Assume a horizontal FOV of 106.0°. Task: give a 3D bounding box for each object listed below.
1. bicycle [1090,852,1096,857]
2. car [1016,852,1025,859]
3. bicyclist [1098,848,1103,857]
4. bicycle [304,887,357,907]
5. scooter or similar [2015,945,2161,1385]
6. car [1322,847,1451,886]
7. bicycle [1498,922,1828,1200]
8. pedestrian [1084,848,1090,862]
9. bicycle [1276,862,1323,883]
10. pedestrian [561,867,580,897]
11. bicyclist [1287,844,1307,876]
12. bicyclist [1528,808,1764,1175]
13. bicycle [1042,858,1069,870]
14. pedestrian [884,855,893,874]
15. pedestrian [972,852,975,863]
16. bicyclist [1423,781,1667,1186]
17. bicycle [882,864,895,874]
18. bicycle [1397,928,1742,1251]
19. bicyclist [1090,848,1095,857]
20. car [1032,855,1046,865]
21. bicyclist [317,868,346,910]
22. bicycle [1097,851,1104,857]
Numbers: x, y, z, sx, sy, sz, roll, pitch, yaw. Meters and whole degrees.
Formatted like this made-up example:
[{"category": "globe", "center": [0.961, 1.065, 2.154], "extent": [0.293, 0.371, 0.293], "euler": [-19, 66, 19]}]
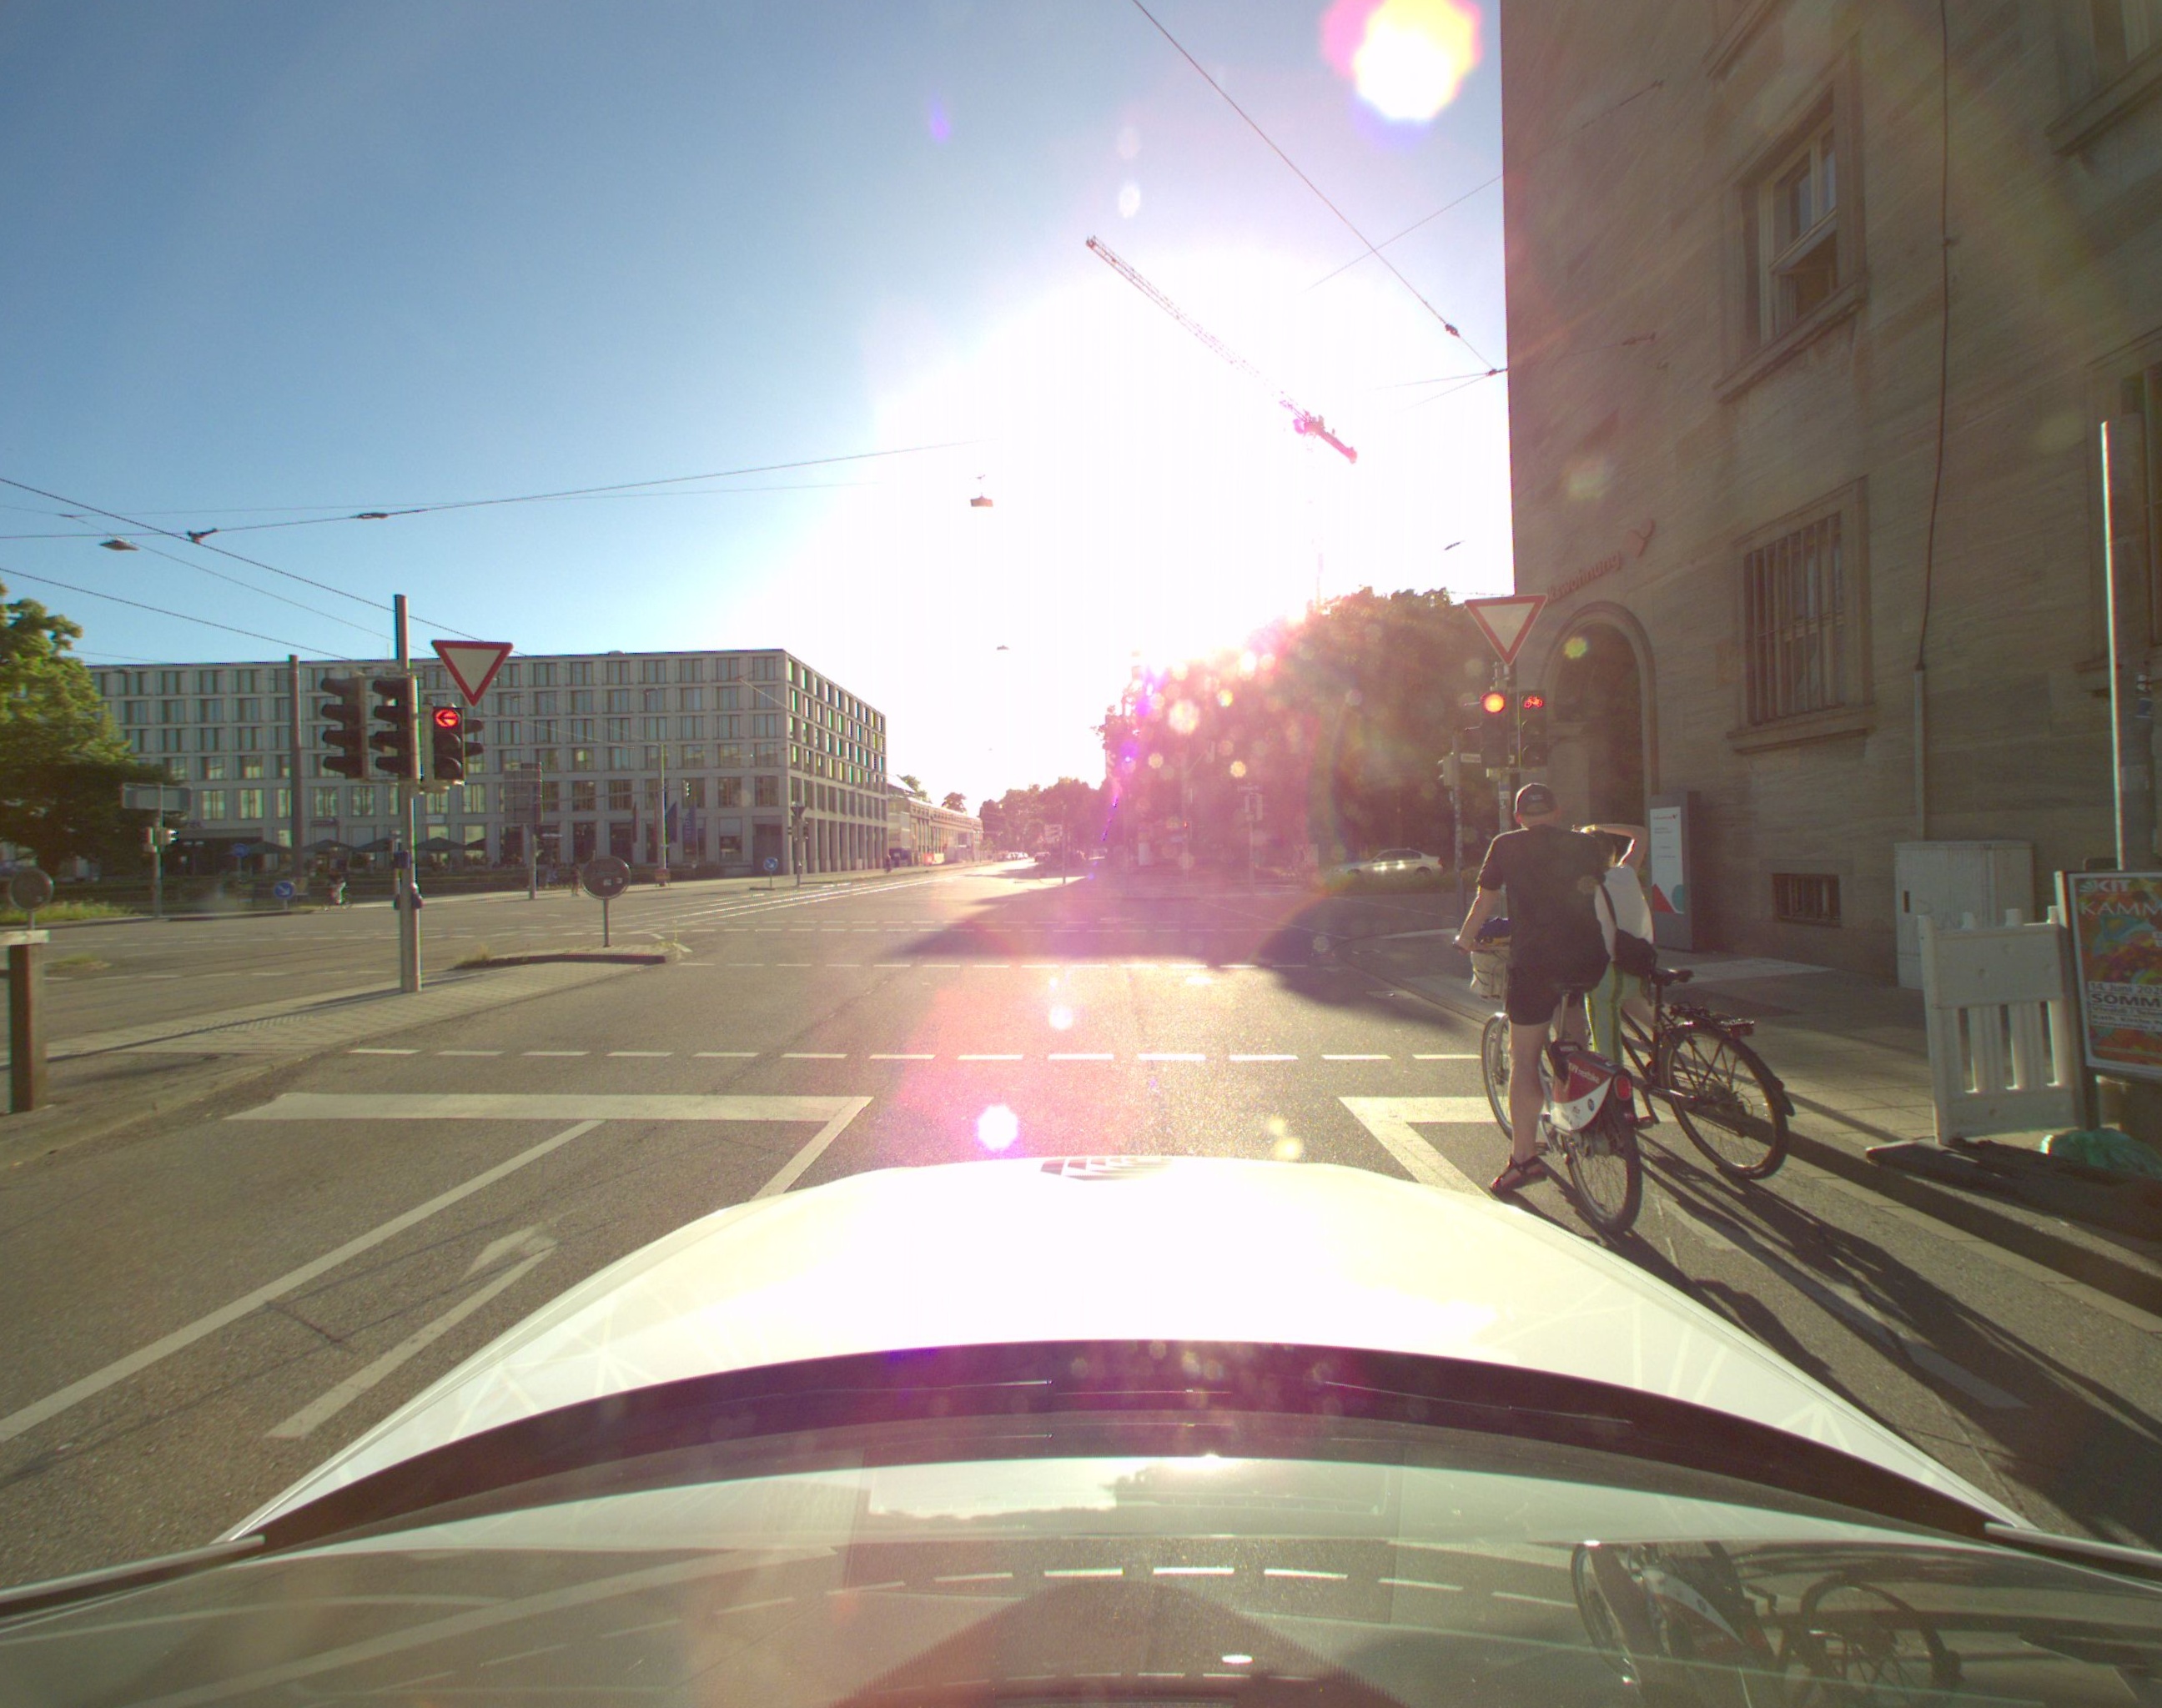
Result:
[{"category": "bicycle", "center": [2.539, 0.112, 170.473], "extent": [0.890, 1.219, 2.784], "euler": [0, -1, -9]}, {"category": "car", "center": [-14.457, 0.385, 195.324], "extent": [1.988, 1.644, 3.998], "euler": [-2, 0, -1]}, {"category": "bicyclist", "center": [4.051, -0.291, 171.146], "extent": [0.891, 2.014, 0.746], "euler": [0, -1, -10]}, {"category": "bicycle", "center": [-32.783, 1.862, 35.601], "extent": [0.532, 0.787, 1.853], "euler": [-2, 0, 2]}, {"category": "scooter or similar", "center": [3.281, 0.873, 1.937], "extent": [0.572, 1.149, 1.268], "euler": [-2, 0, -8]}, {"category": "car", "center": [12.438, 0.505, 33.416], "extent": [4.559, 1.516, 2.001], "euler": [0, -1, 1]}, {"category": "bicycle", "center": [2.970, 0.972, 4.405], "extent": [0.579, 1.044, 1.748], "euler": [-2, 0, 3]}, {"category": "pedestrian", "center": [0.747, 0.129, 97.828], "extent": [0.576, 1.689, 0.584], "euler": [-2, 0, -6]}, {"category": "bicycle", "center": [9.714, 0.831, 36.285], "extent": [1.932, 0.889, 0.719], "euler": [-1, -1, 8]}, {"category": "pedestrian", "center": [-28.570, 1.572, 45.611], "extent": [0.600, 1.681, 0.608], "euler": [-2, 0, 9]}, {"category": "bicyclist", "center": [9.621, 0.268, 36.298], "extent": [0.742, 1.406, 0.704], "euler": [-1, -1, 8]}, {"category": "bicyclist", "center": [2.960, 0.657, 4.371], "extent": [0.581, 1.738, 0.951], "euler": [-2, 0, 2]}, {"category": "bicycle", "center": [-2.105, 0.847, 67.427], "extent": [2.240, 0.940, 0.653], "euler": [-2, 0, -4]}, {"category": "pedestrian", "center": [-16.373, 0.860, 69.278], "extent": [0.569, 1.595, 0.745], "euler": [-2, 0, 5]}, {"category": "pedestrian", "center": [-18.874, 0.647, 142.766], "extent": [0.587, 1.889, 0.477], "euler": [0, -1, -5]}, {"category": "bicyclist", "center": [2.181, 0.553, 3.948], "extent": [0.621, 1.715, 0.913], "euler": [-2, 0, 0]}, {"category": "bicycle", "center": [-16.361, 1.249, 69.255], "extent": [0.569, 0.823, 1.721], "euler": [-2, 0, 5]}, {"category": "bicycle", "center": [2.188, 0.973, 3.959], "extent": [0.621, 1.044, 1.747], "euler": [-2, 0, 1]}, {"category": "bicyclist", "center": [2.489, -0.283, 170.688], "extent": [0.891, 2.014, 0.746], "euler": [0, -1, -10]}, {"category": "car", "center": [-6.609, 0.972, 128.650], "extent": [1.986, 1.640, 4.001], "euler": [0, -1, 2]}, {"category": "bicyclist", "center": [-32.776, 1.520, 35.621], "extent": [0.532, 1.761, 0.771], "euler": [-2, 0, 2]}, {"category": "bicycle", "center": [4.103, 0.103, 170.799], "extent": [0.890, 1.219, 2.784], "euler": [0, -1, -9]}]
